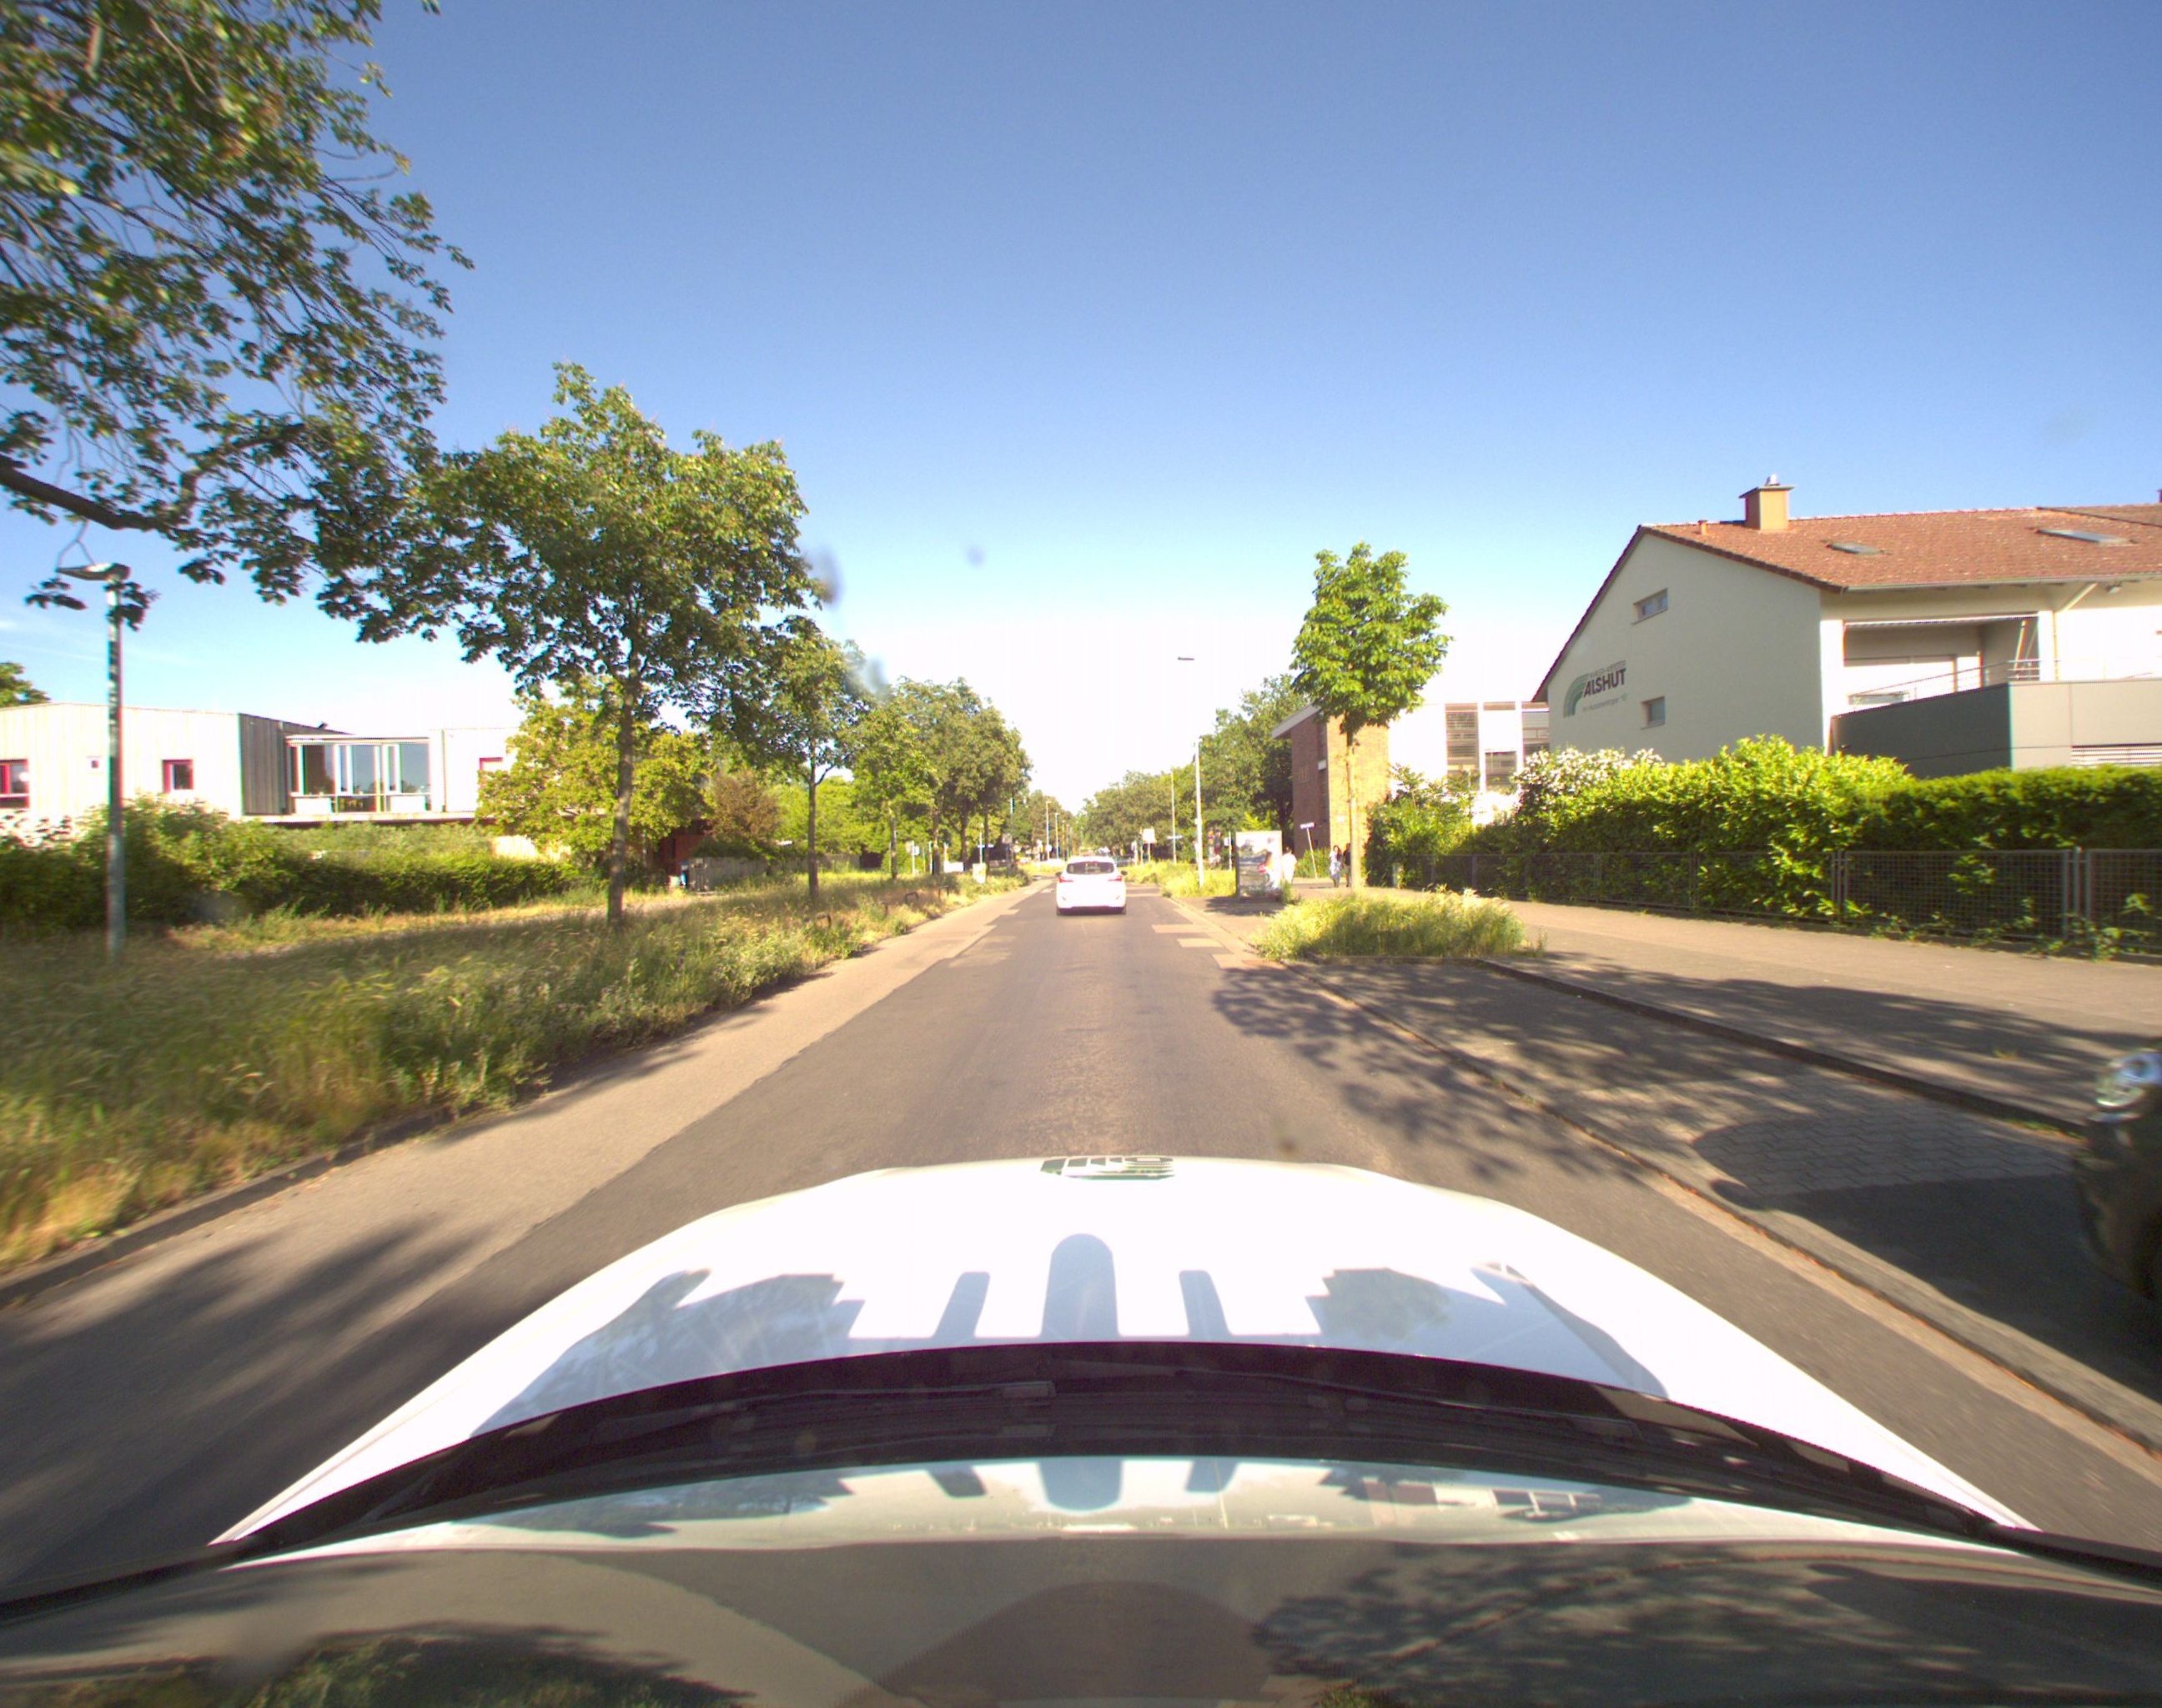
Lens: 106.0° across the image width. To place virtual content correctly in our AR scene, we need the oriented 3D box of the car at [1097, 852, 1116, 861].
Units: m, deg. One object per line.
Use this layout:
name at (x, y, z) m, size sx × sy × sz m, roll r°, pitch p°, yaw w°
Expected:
car at (5.971, 0.567, 188.774) m, size 4.287 × 1.908 × 1.863 m, roll -1°, pitch -1°, yaw 0°

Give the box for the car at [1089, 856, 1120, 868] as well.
car at (3.502, 1.206, 121.298) m, size 4.480 × 1.630 × 1.856 m, roll -2°, pitch 0°, yaw 2°

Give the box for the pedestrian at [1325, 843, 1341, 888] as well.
pedestrian at (9.751, 0.443, 31.487) m, size 0.550 × 1.732 × 0.664 m, roll -1°, pitch -1°, yaw 17°

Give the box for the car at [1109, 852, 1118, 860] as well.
car at (7.213, 0.403, 180.627) m, size 1.987 × 1.816 × 4.000 m, roll -1°, pitch -1°, yaw 1°

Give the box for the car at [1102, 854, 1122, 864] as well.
car at (5.765, 0.957, 151.411) m, size 3.806 × 1.684 × 1.863 m, roll -1°, pitch -1°, yaw 0°

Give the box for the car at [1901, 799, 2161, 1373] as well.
car at (3.676, 0.601, 1.074) m, size 1.488 × 1.574 × 3.601 m, roll -4°, pitch 0°, yaw 1°

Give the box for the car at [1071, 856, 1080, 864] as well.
car at (-1.242, 1.312, 181.859) m, size 1.987 × 1.816 × 4.000 m, roll -1°, pitch 0°, yaw 1°

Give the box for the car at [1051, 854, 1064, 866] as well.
car at (-3.845, 0.934, 133.408) m, size 1.987 × 1.815 × 4.001 m, roll -1°, pitch 1°, yaw 1°

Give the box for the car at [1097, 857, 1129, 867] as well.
car at (5.680, 1.452, 144.716) m, size 5.595 × 1.684 × 1.948 m, roll -1°, pitch -1°, yaw 0°

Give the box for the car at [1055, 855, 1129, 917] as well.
car at (0.284, 0.785, 21.953) m, size 1.783 × 1.463 × 3.963 m, roll -1°, pitch 0°, yaw 0°

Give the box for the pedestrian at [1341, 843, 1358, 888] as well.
pedestrian at (10.323, 0.441, 31.320) m, size 0.601 × 1.732 × 0.642 m, roll -1°, pitch -1°, yaw 17°

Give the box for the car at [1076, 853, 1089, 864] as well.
car at (0.220, 0.693, 131.561) m, size 1.987 × 1.816 × 4.000 m, roll 1°, pitch 0°, yaw 1°

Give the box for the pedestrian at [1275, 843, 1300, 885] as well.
pedestrian at (9.055, 0.438, 35.740) m, size 0.896 × 1.822 × 0.736 m, roll -1°, pitch -1°, yaw 0°

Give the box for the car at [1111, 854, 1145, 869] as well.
car at (6.361, 1.025, 109.419) m, size 4.480 × 1.783 × 1.856 m, roll -2°, pitch 0°, yaw 2°

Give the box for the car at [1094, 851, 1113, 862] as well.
car at (4.419, 0.569, 161.454) m, size 3.806 × 2.098 × 1.863 m, roll -1°, pitch -1°, yaw 0°

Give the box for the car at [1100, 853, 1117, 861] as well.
car at (6.165, 0.699, 185.624) m, size 3.806 × 1.767 × 1.863 m, roll -1°, pitch -1°, yaw 0°
